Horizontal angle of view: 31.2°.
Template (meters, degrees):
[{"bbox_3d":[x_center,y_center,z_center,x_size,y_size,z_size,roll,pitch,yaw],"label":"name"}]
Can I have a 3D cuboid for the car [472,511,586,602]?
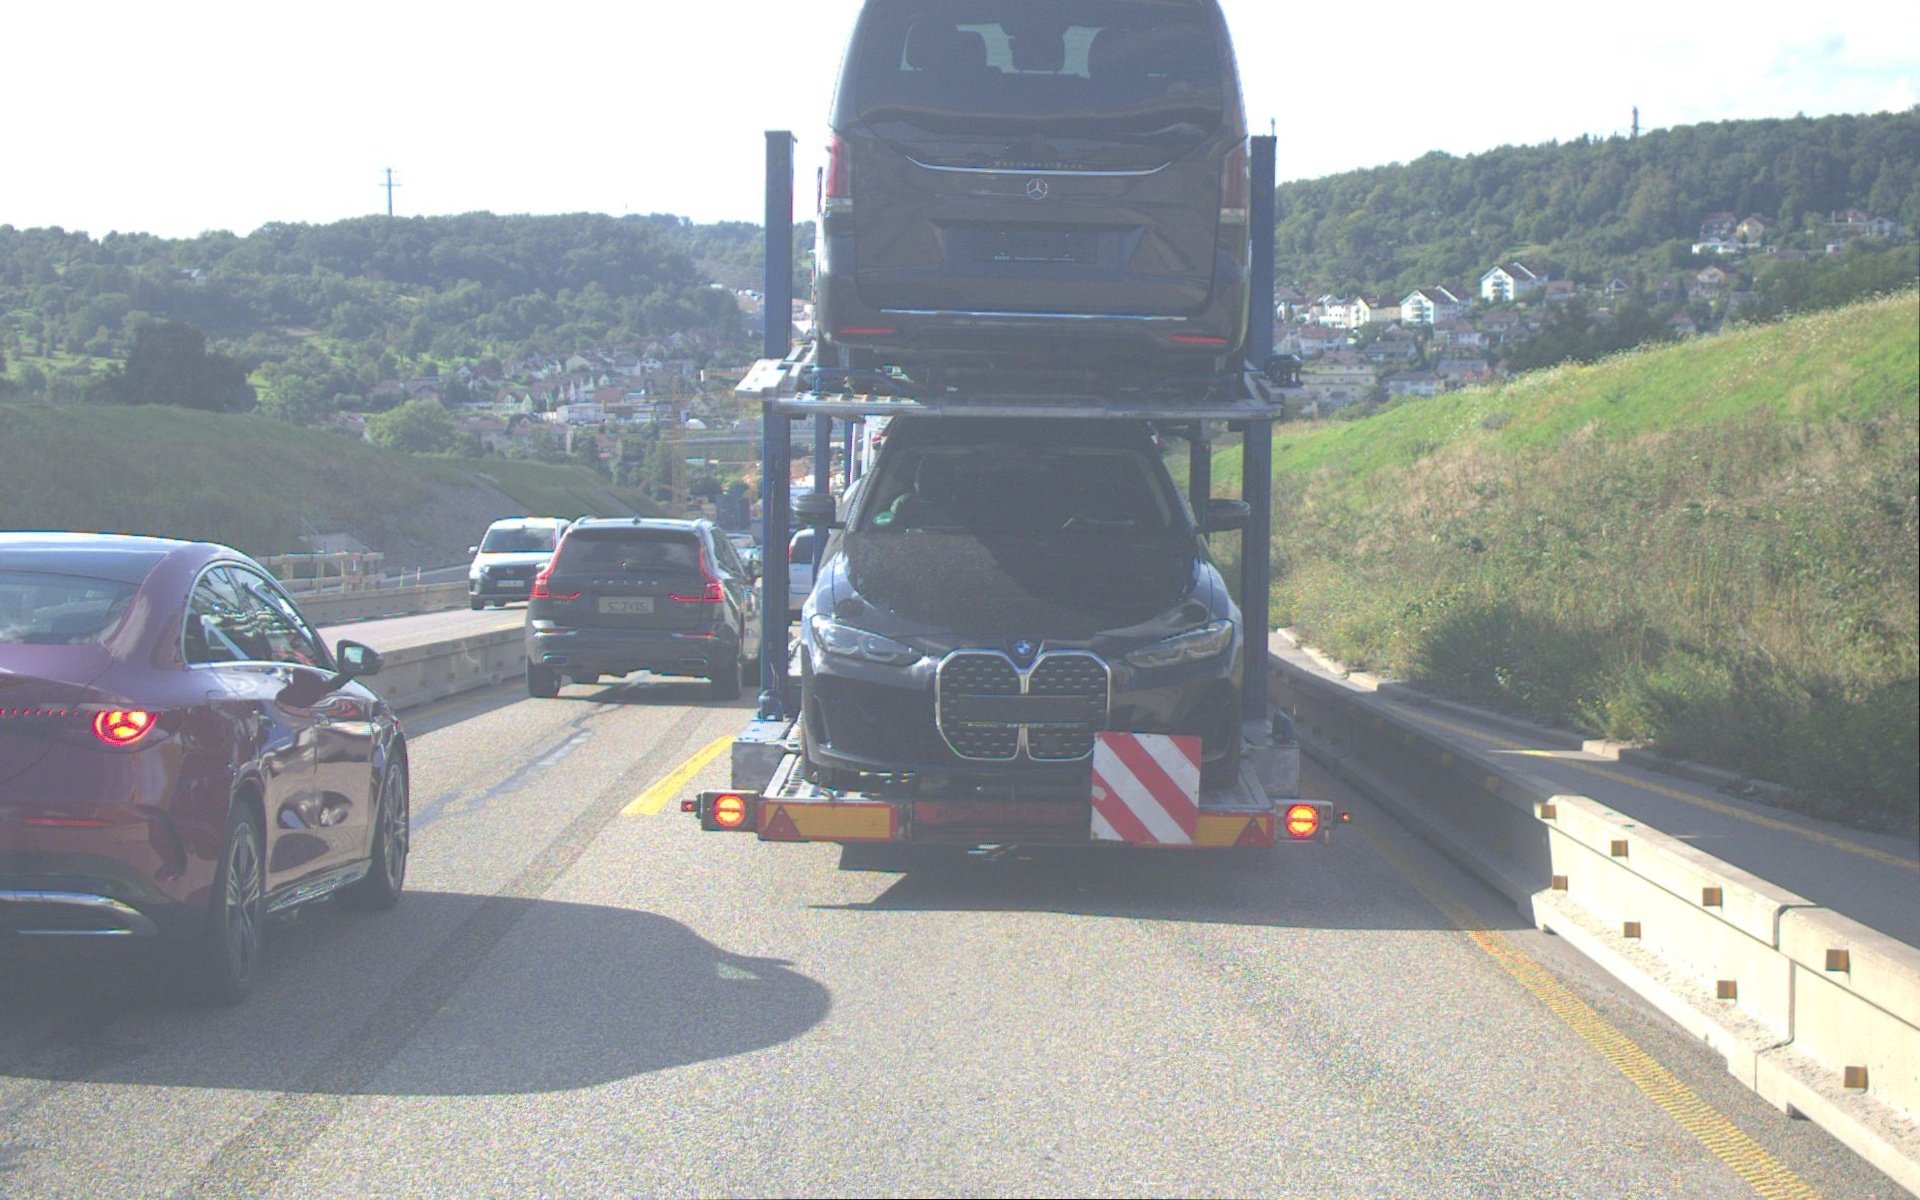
[{"bbox_3d":[-8.524,-0.895,68.258,1.734,1.653,4.218,-3,2,-1],"label":"car"}]

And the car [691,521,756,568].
[{"bbox_3d":[-7.609,-1.787,111.060,1.734,1.420,4.628,-3,1,0],"label":"car"}]

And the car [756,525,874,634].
[{"bbox_3d":[-2.385,-0.380,57.624,1.796,1.591,4.744,-2,2,-1],"label":"car"}]

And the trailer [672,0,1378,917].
[{"bbox_3d":[0.374,-0.914,18.919,2.708,4.015,11.419,0,1,1],"label":"trailer"}]

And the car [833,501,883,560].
[{"bbox_3d":[-5.125,-3.495,173.551,2.110,2.826,6.138,-3,1,1],"label":"car"}]

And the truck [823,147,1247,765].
[{"bbox_3d":[0.515,-0.974,24.778,2.678,3.908,6.027,0,1,1],"label":"truck"}]

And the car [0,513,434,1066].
[{"bbox_3d":[-3.101,0.471,11.931,1.823,1.487,4.685,1,2,0],"label":"car"}]

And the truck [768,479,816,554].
[{"bbox_3d":[-9.365,-4.658,191.746,2.614,4.139,5.782,0,1,-3],"label":"truck"}]

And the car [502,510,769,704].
[{"bbox_3d":[-2.928,-0.003,32.020,1.993,1.619,4.750,2,1,0],"label":"car"}]
